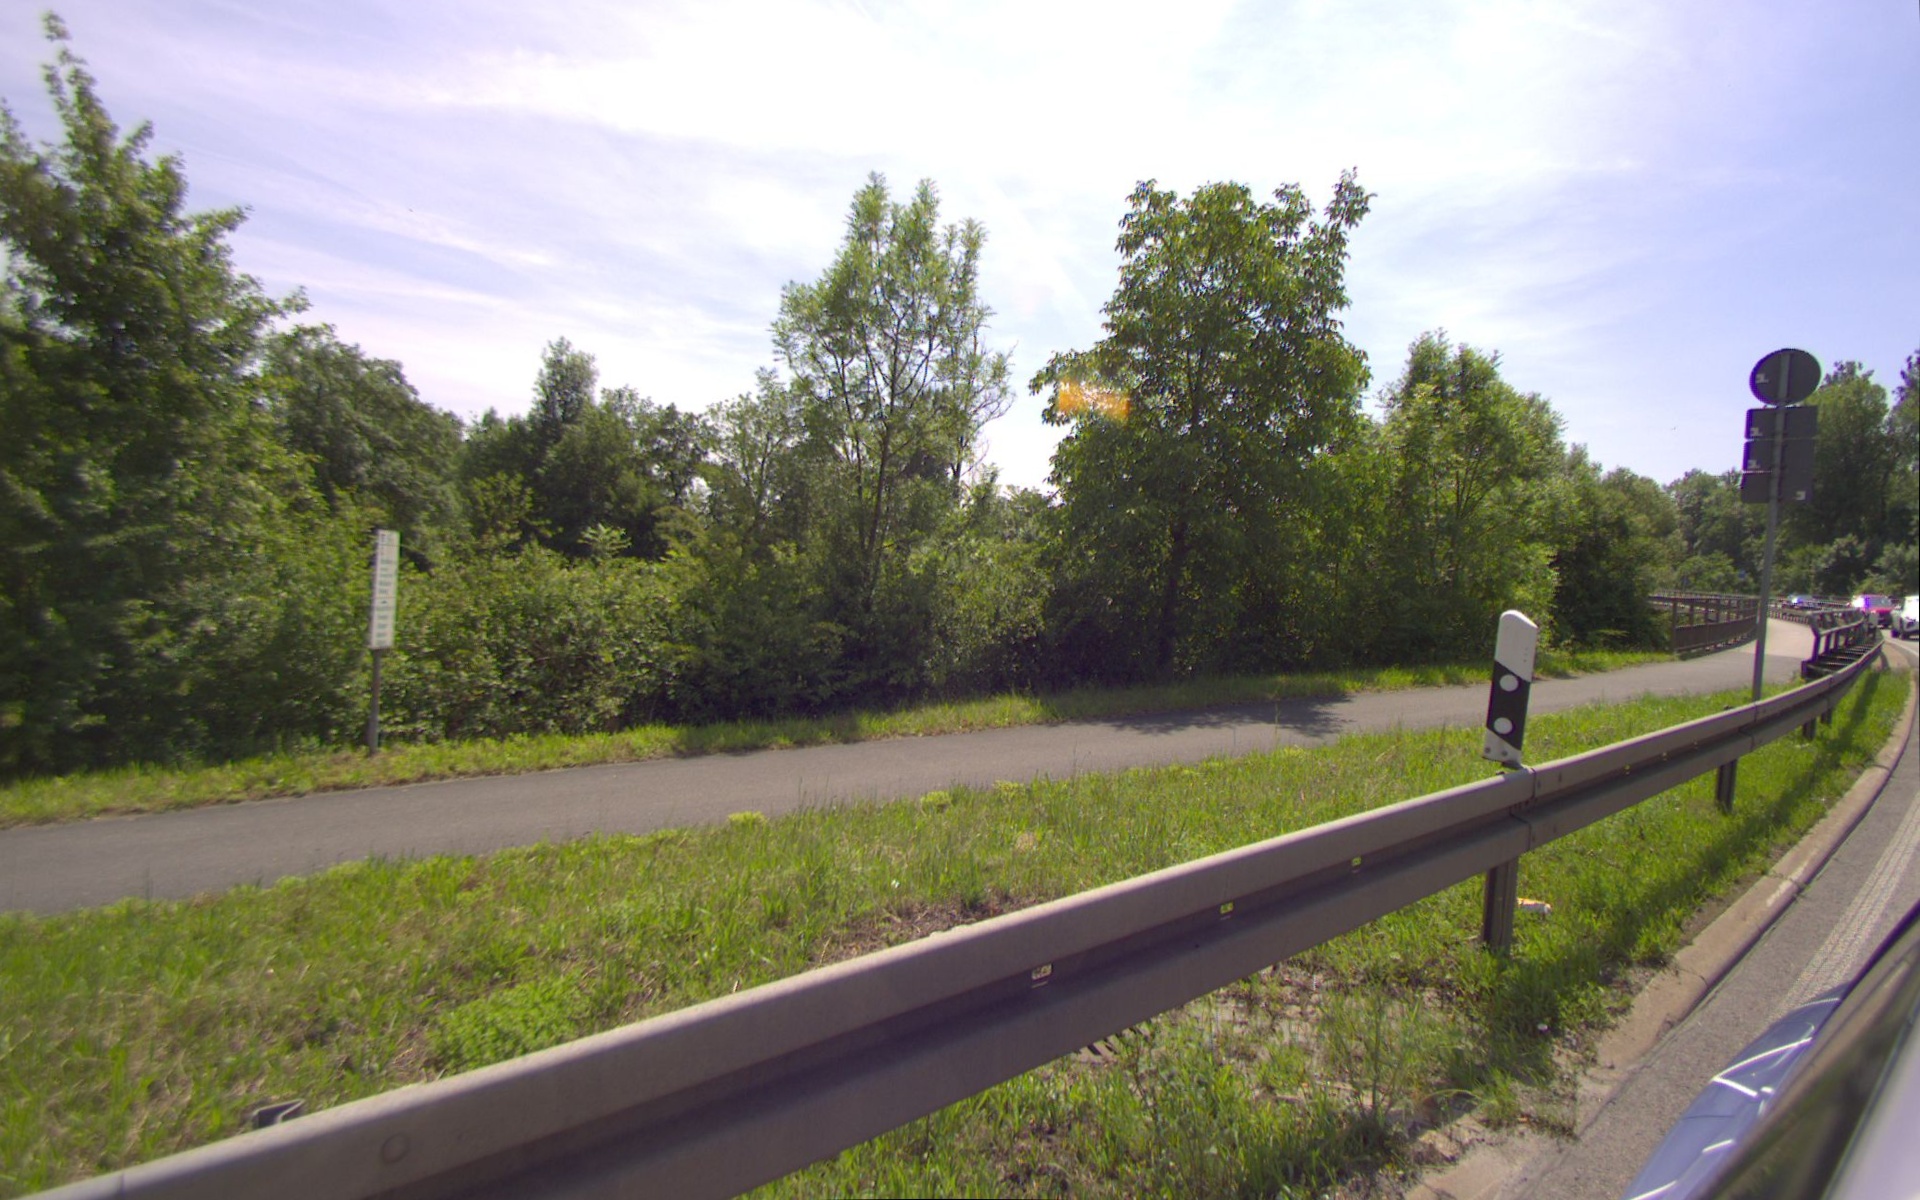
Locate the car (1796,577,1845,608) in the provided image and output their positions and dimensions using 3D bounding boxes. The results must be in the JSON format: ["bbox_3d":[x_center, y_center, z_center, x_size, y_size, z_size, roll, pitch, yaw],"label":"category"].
[{"bbox_3d":[58.991,-0.547,69.453,1.985,2.039,3.955,0,1,32],"label":"car"}]

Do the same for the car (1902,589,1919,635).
[{"bbox_3d":[36.777,0.426,37.827,1.900,1.668,3.896,-1,-1,38],"label":"car"}]

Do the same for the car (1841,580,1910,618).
[{"bbox_3d":[45.542,-0.036,50.435,1.987,1.798,3.950,-1,-1,35],"label":"car"}]
